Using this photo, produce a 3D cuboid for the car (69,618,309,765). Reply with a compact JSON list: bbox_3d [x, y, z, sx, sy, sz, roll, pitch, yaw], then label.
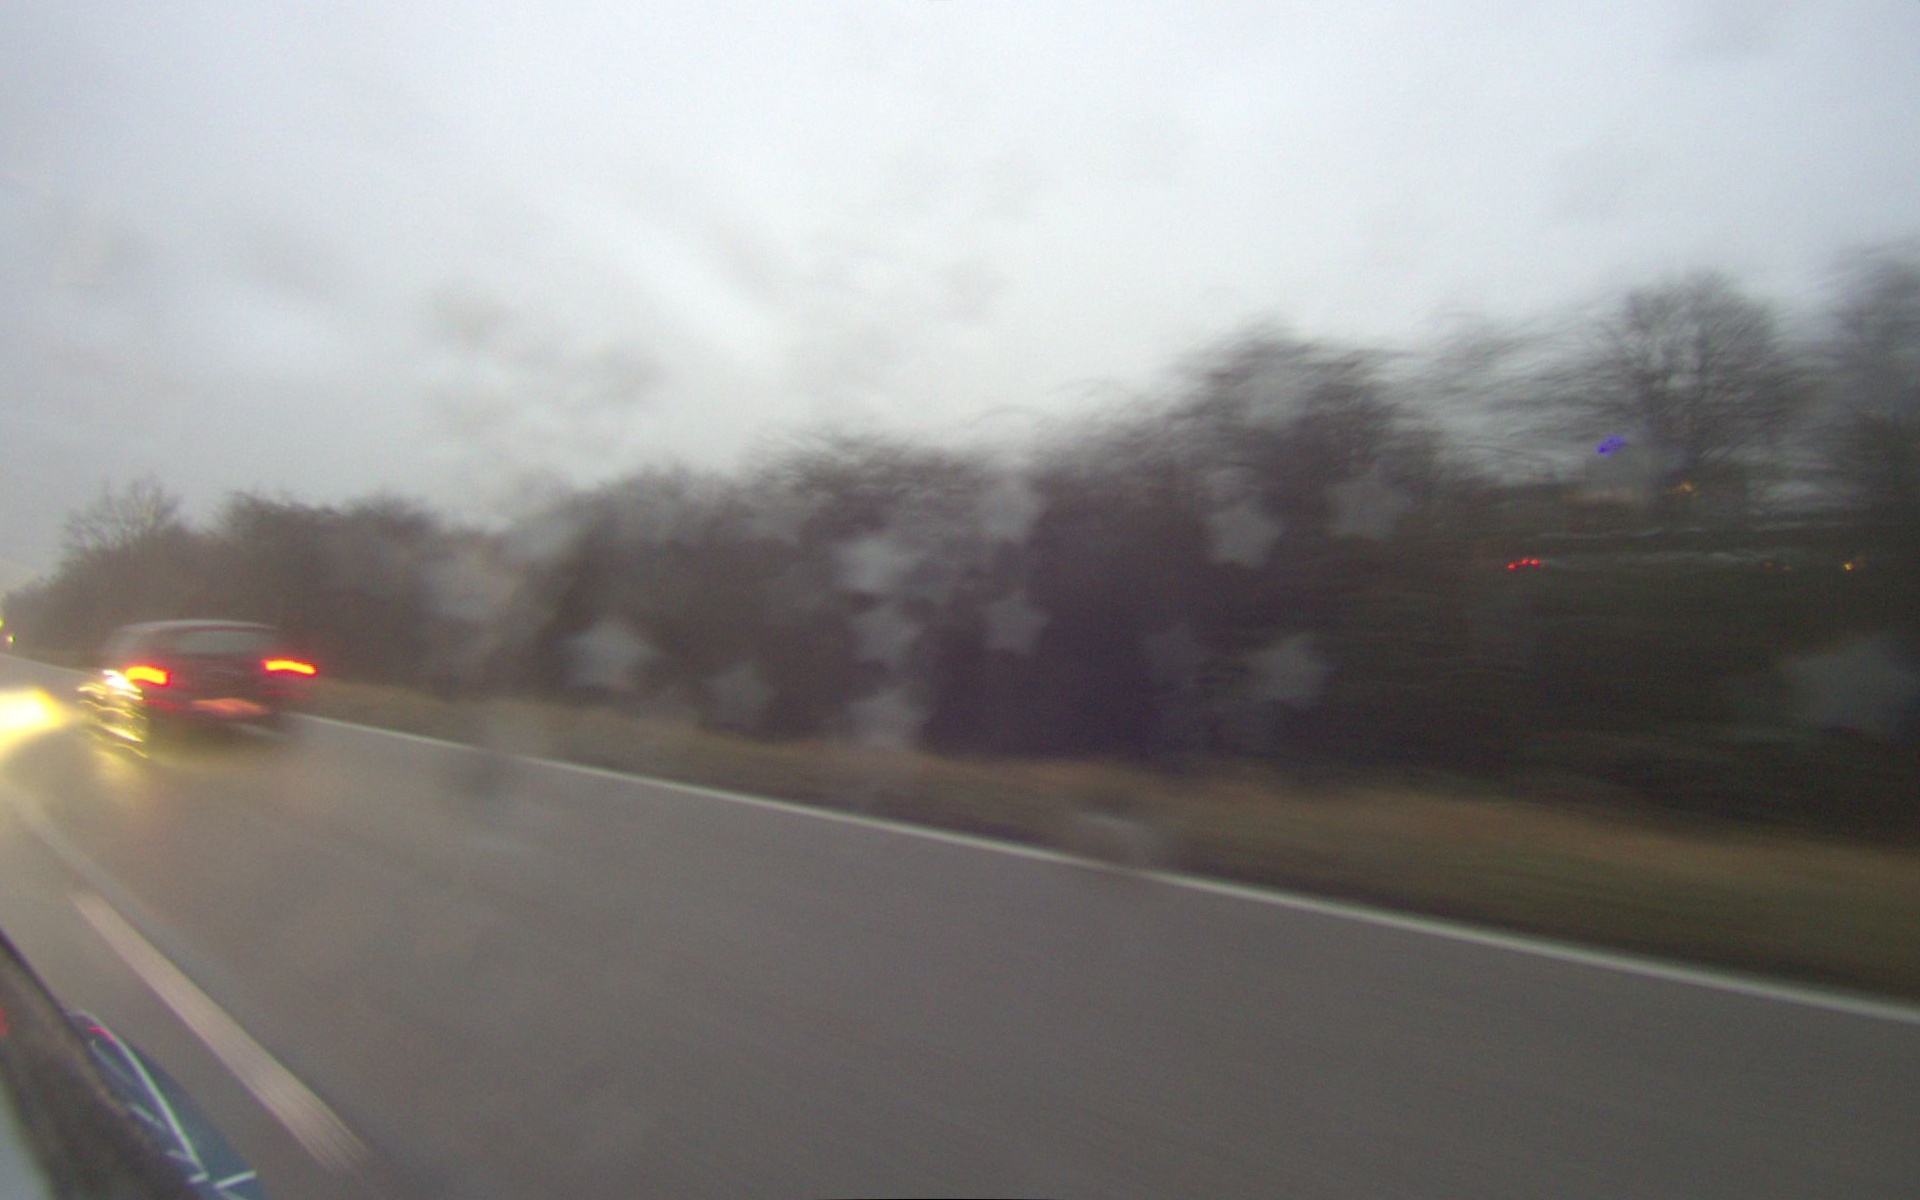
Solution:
[{"bbox_3d":[-9.520,0.994,12.406,3.668,1.497,1.638,-1,0,41],"label":"car"}]
